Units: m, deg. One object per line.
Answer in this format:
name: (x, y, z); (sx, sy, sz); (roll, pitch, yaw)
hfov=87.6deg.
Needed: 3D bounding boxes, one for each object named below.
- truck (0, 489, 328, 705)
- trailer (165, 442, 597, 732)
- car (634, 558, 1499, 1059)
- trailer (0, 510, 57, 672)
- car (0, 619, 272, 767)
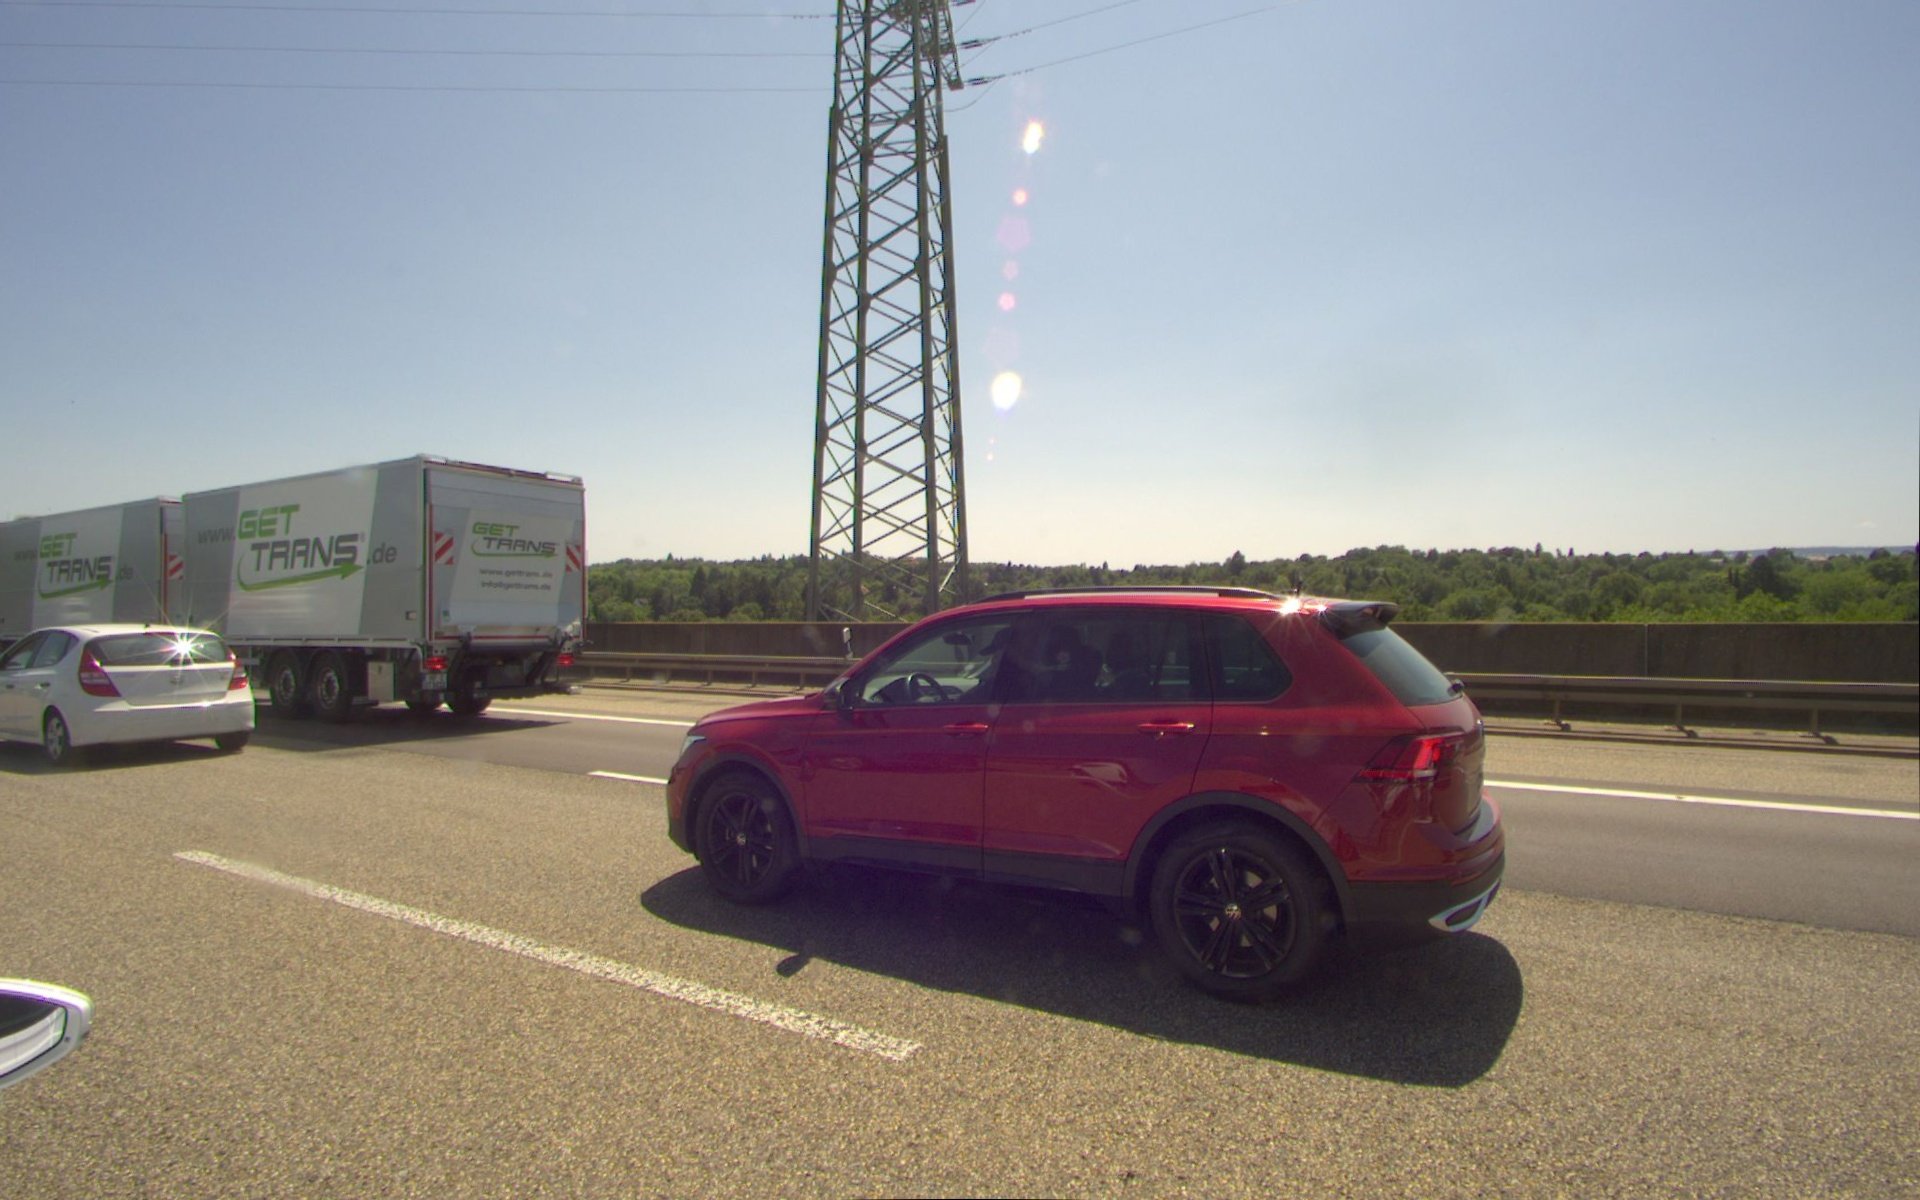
truck: (-17.534, 0.022, 21.164); (10.851, 3.696, 2.652); (-1, 0, 32)
trailer: (-9.571, -0.109, 16.205); (7.899, 3.748, 2.693); (-1, 0, 32)
car: (0.404, 0.740, 5.233); (4.163, 1.683, 1.772); (-1, -1, 32)
trailer: (-29.335, -0.164, 28.684); (8.883, 4.293, 2.860); (-1, -2, 32)
car: (-10.183, 0.970, 11.909); (4.232, 1.474, 1.785); (-1, -1, 32)
